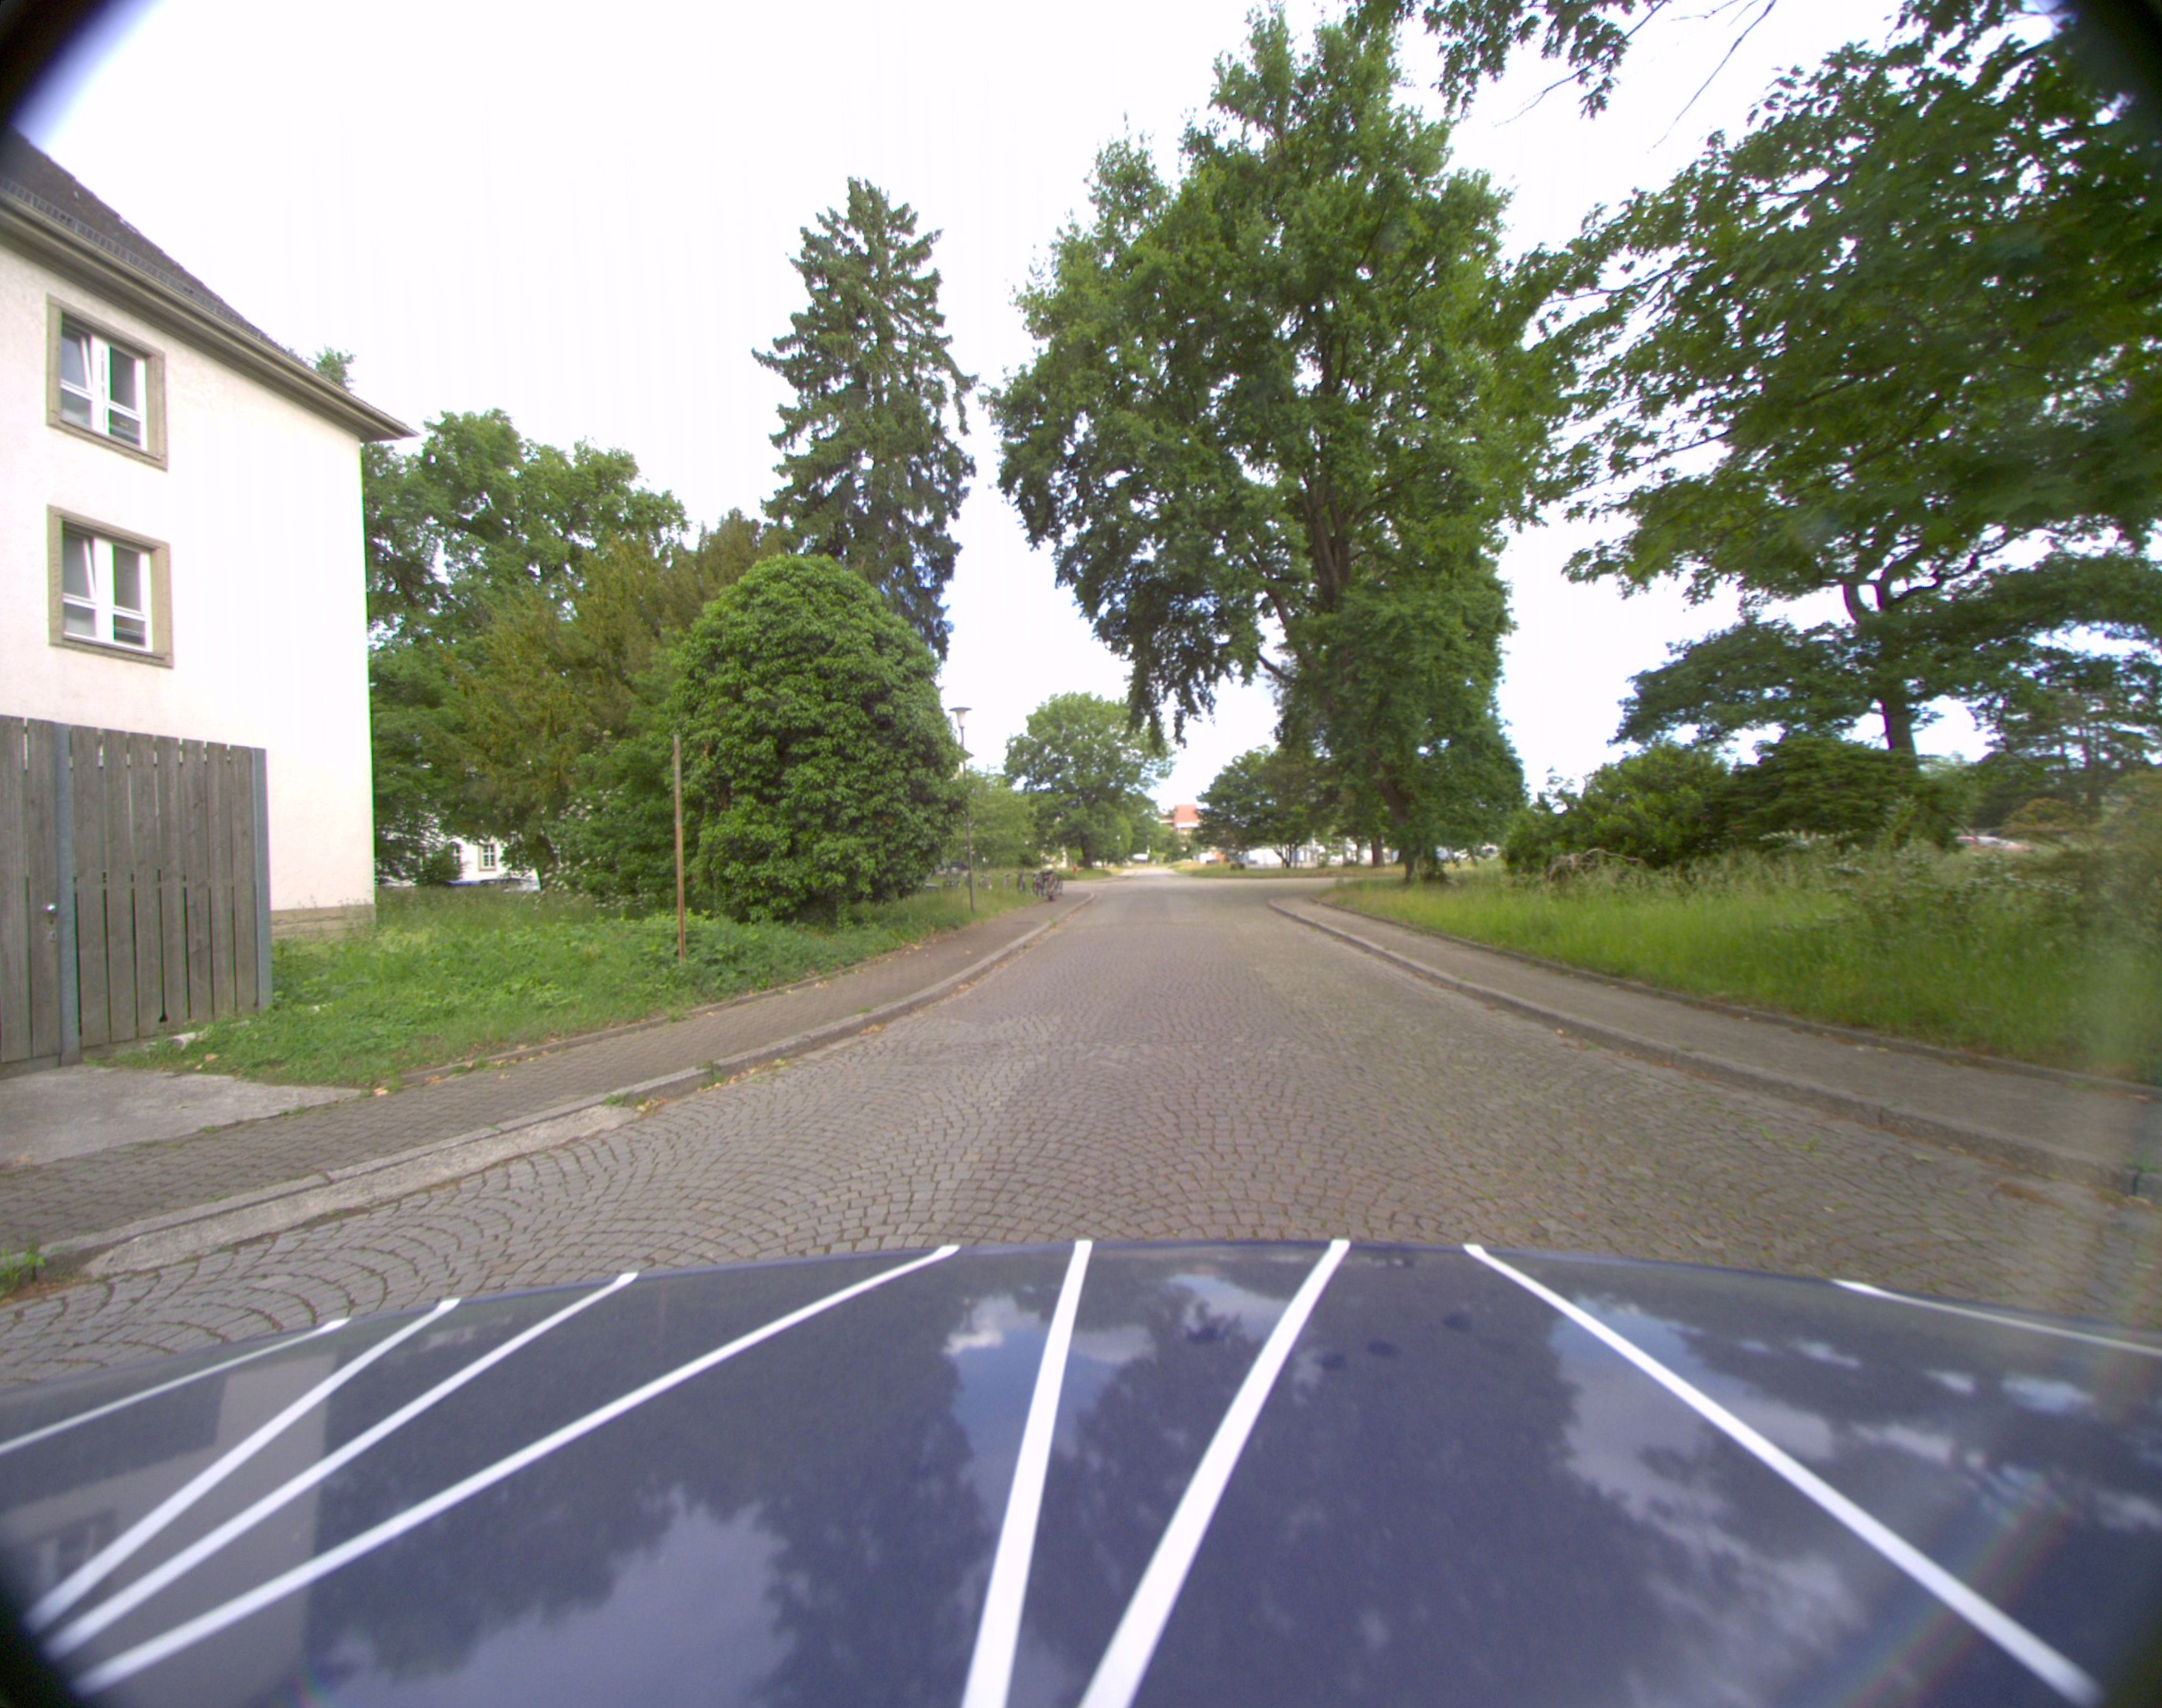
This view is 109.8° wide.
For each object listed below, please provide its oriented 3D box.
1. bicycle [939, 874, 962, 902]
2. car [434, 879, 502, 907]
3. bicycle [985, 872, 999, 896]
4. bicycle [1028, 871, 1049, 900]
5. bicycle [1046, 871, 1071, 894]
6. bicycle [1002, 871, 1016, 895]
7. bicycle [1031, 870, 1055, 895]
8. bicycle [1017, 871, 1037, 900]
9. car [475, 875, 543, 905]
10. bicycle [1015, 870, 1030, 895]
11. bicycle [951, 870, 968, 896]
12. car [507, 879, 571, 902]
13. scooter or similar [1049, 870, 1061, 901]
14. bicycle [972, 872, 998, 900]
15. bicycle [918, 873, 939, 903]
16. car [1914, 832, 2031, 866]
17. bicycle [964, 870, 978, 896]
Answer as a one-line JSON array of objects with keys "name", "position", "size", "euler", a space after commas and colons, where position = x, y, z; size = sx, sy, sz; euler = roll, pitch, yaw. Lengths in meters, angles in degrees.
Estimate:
[{"name": "bicycle", "position": [-5.240, 1.336, 30.450], "size": [0.552, 1.059, 1.751], "euler": [-2, 0, -20]}, {"name": "car", "position": [-38.119, 2.422, 47.333], "size": [1.383, 1.555, 3.250], "euler": [-2, 0, 5]}, {"name": "bicycle", "position": [-4.063, 1.340, 34.589], "size": [0.478, 1.002, 1.665], "euler": [-2, 1, -11]}, {"name": "bicycle", "position": [-1.754, 1.265, 31.216], "size": [0.551, 1.108, 1.768], "euler": [-2, 0, -12]}, {"name": "bicycle", "position": [-1.046, 1.295, 35.005], "size": [0.478, 1.002, 1.619], "euler": [-3, 2, -25]}, {"name": "bicycle", "position": [-3.286, 1.311, 34.602], "size": [0.478, 1.002, 1.665], "euler": [-2, 1, -11]}, {"name": "bicycle", "position": [-1.749, 1.300, 35.097], "size": [0.478, 1.068, 1.619], "euler": [-3, 2, -25]}, {"name": "bicycle", "position": [-2.223, 1.280, 31.053], "size": [0.551, 1.108, 1.803], "euler": [-2, 0, -12]}, {"name": "car", "position": [-34.943, 2.194, 46.514], "size": [1.438, 1.651, 3.250], "euler": [-2, 0, 5]}, {"name": "bicycle", "position": [-2.667, 1.288, 34.656], "size": [0.478, 1.002, 1.665], "euler": [-2, 1, -11]}, {"name": "bicycle", "position": [-5.490, 1.306, 34.287], "size": [0.478, 1.105, 1.763], "euler": [-2, 0, -16]}, {"name": "car", "position": [-32.716, 2.169, 45.969], "size": [1.295, 1.210, 3.250], "euler": [-2, 0, 5]}, {"name": "scooter or similar", "position": [-1.035, 1.227, 29.911], "size": [0.357, 1.202, 1.137], "euler": [-2, 0, 1]}, {"name": "bicycle", "position": [-3.907, 1.291, 30.814], "size": [0.619, 1.059, 1.823], "euler": [-2, 0, -20]}, {"name": "bicycle", "position": [-6.261, 1.375, 31.175], "size": [0.551, 1.164, 1.754], "euler": [-2, 0, -3]}, {"name": "car", "position": [42.586, -0.189, 36.414], "size": [1.600, 1.473, 3.502], "euler": [-2, -2, 4]}, {"name": "bicycle", "position": [-4.962, 1.284, 34.196], "size": [0.478, 1.105, 1.764], "euler": [-2, 0, -11]}]
